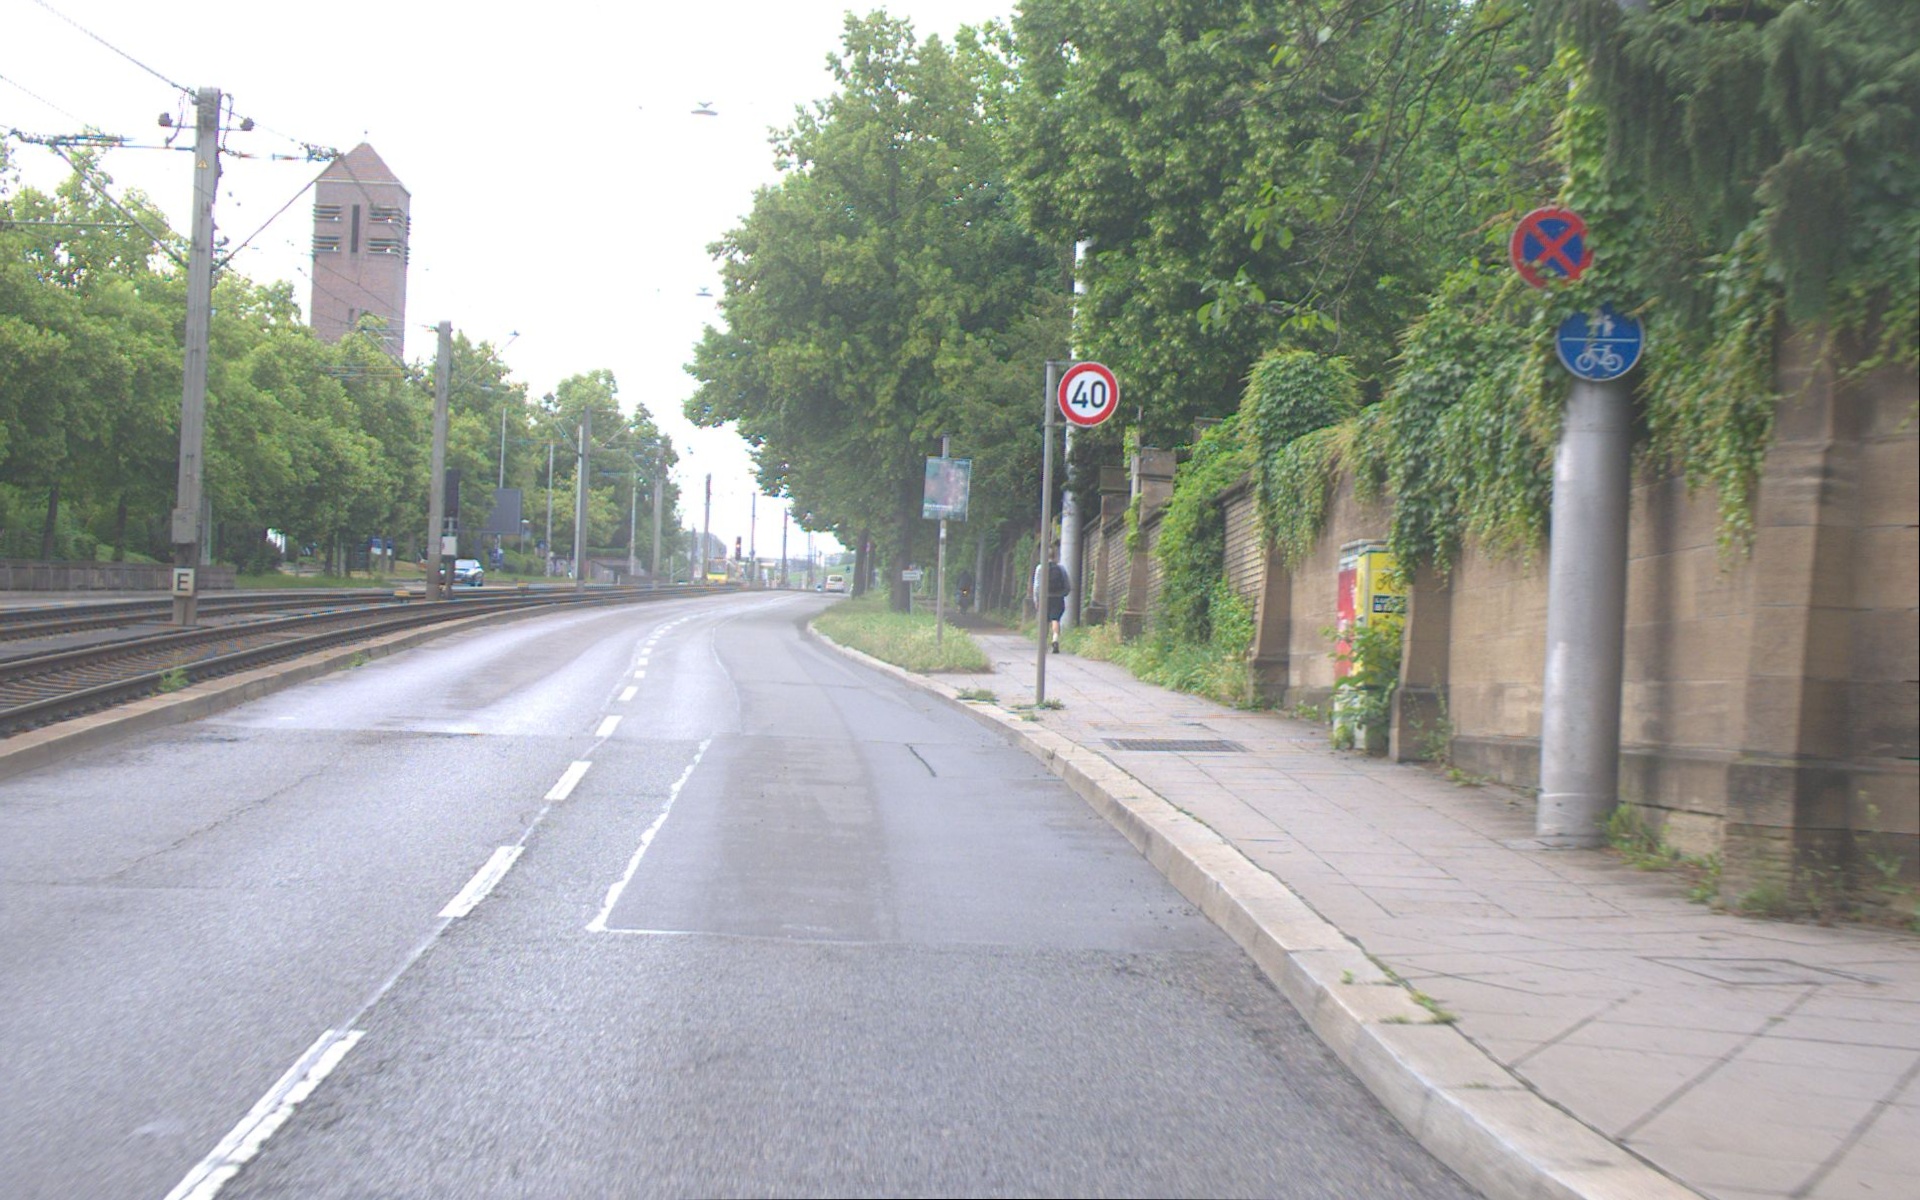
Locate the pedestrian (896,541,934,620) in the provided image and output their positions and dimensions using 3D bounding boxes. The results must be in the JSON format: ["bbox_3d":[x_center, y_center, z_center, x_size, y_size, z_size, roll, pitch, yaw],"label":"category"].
[{"bbox_3d":[-0.977,-0.424,74.907,0.719,1.681,0.729,3,0,-2],"label":"pedestrian"}]

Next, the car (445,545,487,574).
[{"bbox_3d":[-27.085,-2.242,188.559,1.794,1.505,3.849,2,1,-2],"label":"car"}]

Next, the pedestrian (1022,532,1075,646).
[{"bbox_3d":[1.459,-0.184,56.784,0.719,1.843,0.783,3,0,-2],"label":"pedestrian"}]
